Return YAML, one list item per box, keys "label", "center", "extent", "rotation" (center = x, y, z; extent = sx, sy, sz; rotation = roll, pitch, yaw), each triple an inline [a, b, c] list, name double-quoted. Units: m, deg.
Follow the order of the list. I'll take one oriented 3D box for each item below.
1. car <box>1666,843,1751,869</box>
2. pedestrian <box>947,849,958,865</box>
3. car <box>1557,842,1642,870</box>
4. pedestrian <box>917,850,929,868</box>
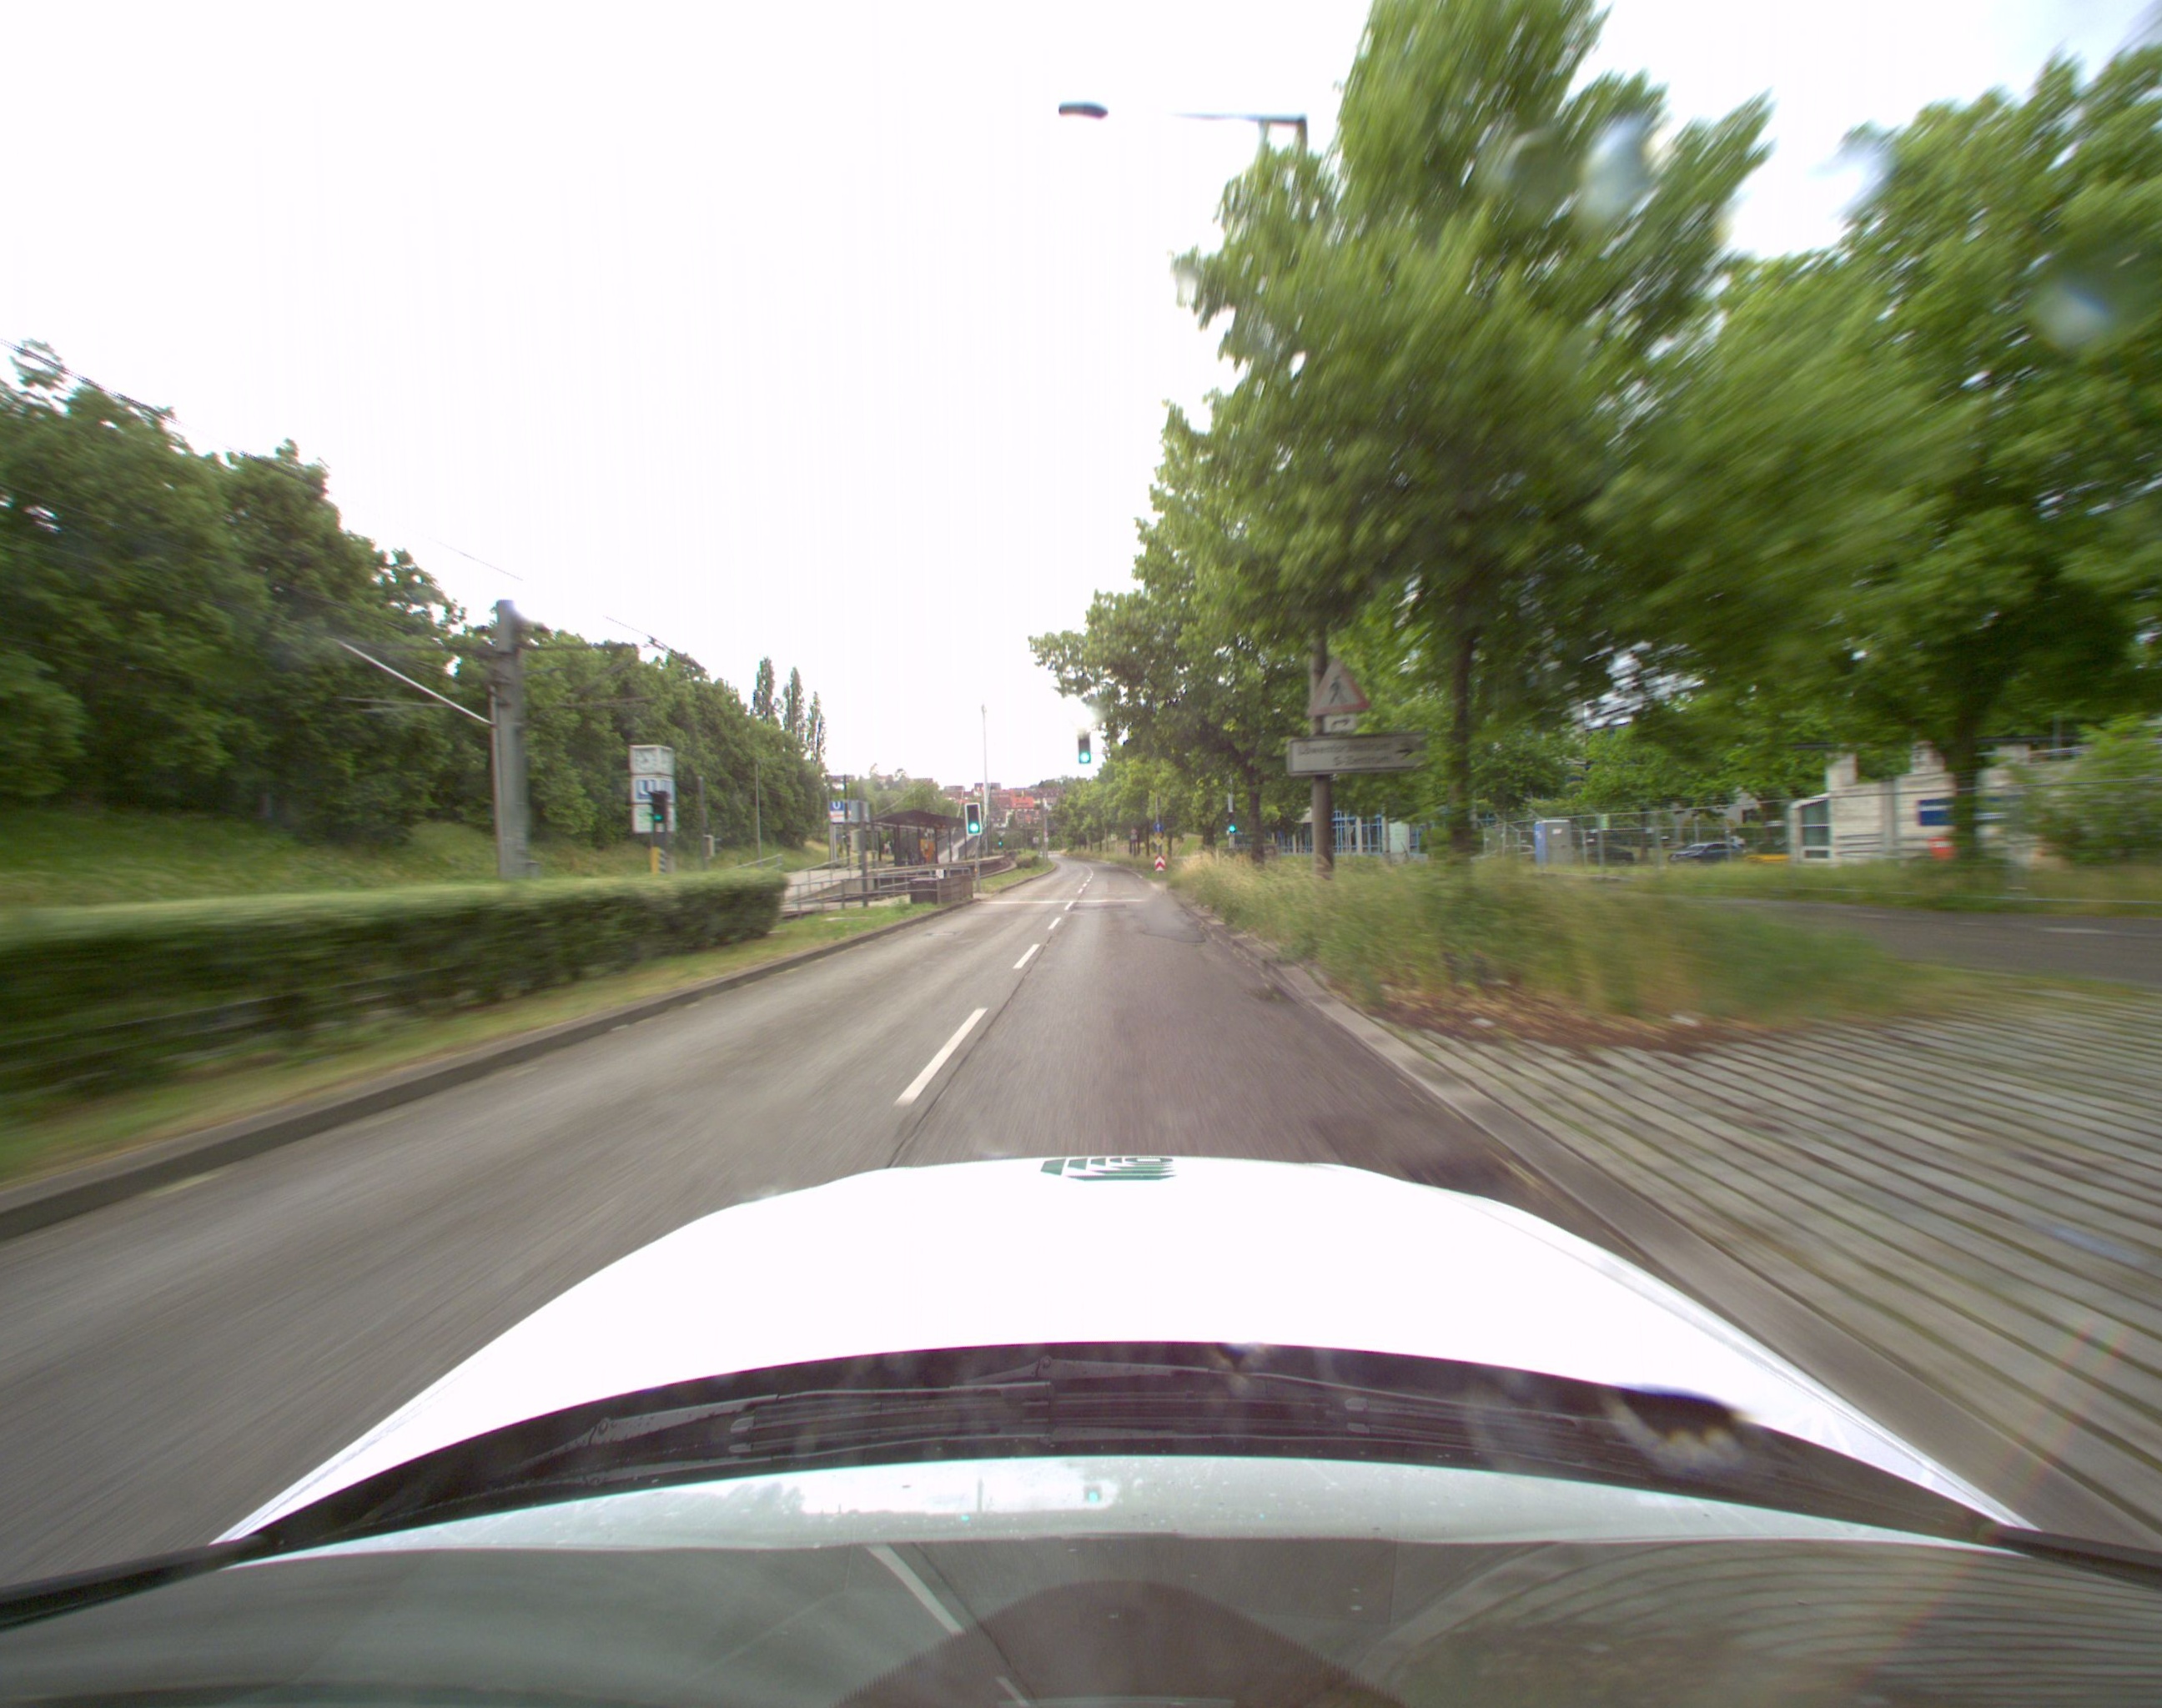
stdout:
- label: "car"
  center: [38.896, 0.105, 50.495]
  extent: [4.090, 1.433, 1.755]
  rotation: [-2, 2, -5]
- label: "pedestrian"
  center: [-12.650, 0.282, 80.012]
  extent: [0.932, 1.611, 1.026]
  rotation: [-1, 0, -2]
- label: "car"
  center: [31.686, 0.114, 49.865]
  extent: [4.075, 1.578, 1.761]
  rotation: [-2, 2, 6]
- label: "pedestrian"
  center: [-11.878, 0.398, 61.253]
  extent: [0.751, 1.355, 0.691]
  rotation: [-1, 0, -2]
